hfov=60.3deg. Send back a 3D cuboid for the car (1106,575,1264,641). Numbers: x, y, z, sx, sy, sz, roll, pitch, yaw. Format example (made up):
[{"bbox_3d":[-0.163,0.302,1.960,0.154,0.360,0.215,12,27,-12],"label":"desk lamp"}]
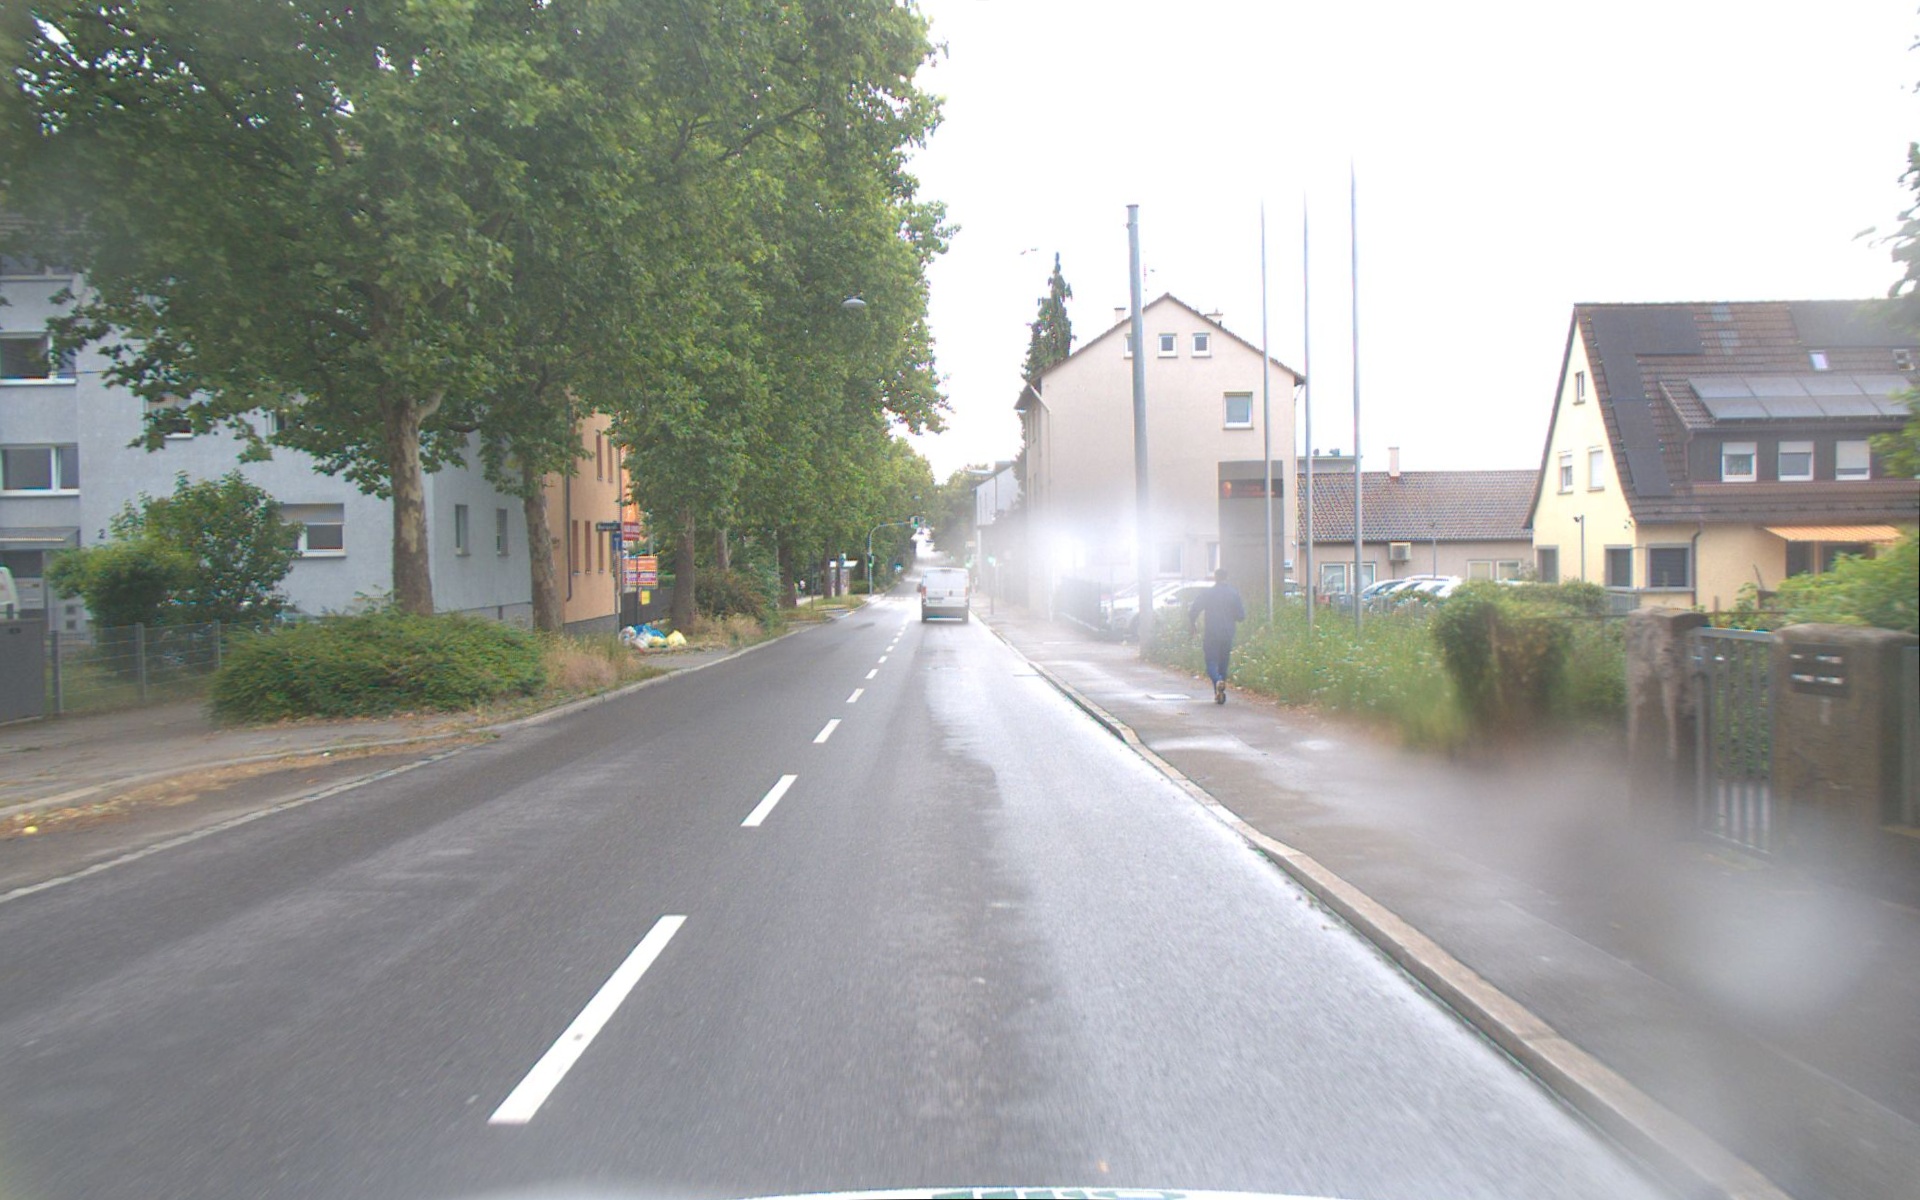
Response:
[{"bbox_3d":[6.377,0.238,47.254,4.215,1.799,1.999,1,-1,-1],"label":"car"}]

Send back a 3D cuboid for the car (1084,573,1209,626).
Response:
[{"bbox_3d":[6.530,-0.024,58.209,4.142,1.767,1.869,1,-1,-1],"label":"car"}]

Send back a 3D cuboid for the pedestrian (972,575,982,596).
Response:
[{"bbox_3d":[1.476,-1.251,140.991,0.728,1.734,0.900,1,0,-6],"label":"pedestrian"}]

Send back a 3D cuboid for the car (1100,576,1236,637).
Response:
[{"bbox_3d":[6.260,0.179,50.077,3.868,1.754,1.791,1,0,-1],"label":"car"}]

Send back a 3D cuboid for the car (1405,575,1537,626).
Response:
[{"bbox_3d":[16.451,0.008,53.326,3.690,1.559,1.757,1,0,-5],"label":"car"}]

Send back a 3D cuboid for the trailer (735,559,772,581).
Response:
[{"bbox_3d":[-15.765,-2.296,126.444,2.649,1.674,1.480,1,0,0],"label":"trailer"}]

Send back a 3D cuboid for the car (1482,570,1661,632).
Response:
[{"bbox_3d":[17.455,0.016,47.316,4.412,1.655,1.869,-1,0,-1],"label":"car"}]

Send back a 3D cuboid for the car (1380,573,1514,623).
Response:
[{"bbox_3d":[16.449,-0.056,55.973,4.002,1.628,1.794,1,-1,-3],"label":"car"}]

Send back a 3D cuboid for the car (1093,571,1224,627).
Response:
[{"bbox_3d":[6.606,-0.029,55.307,4.142,1.767,1.869,1,-1,-1],"label":"car"}]

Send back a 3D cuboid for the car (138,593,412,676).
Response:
[{"bbox_3d":[-13.376,0.664,32.491,4.568,1.502,1.869,1,-1,-1],"label":"car"}]

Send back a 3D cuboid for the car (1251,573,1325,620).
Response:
[{"bbox_3d":[11.293,-0.112,57.177,1.771,1.557,3.626,1,0,-1],"label":"car"}]

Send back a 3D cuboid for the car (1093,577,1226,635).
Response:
[{"bbox_3d":[6.334,0.201,52.745,3.984,1.767,1.869,1,-1,-1],"label":"car"}]

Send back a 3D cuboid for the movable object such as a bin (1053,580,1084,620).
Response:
[{"bbox_3d":[4.351,0.012,66.155,1.088,1.536,0.986,-3,-1,-2],"label":"movable object such as a bin"}]

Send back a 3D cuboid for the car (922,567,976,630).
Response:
[{"bbox_3d":[-0.475,-0.037,70.406,2.236,2.597,3.999,0,-1,-1],"label":"car"}]

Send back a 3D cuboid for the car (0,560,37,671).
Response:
[{"bbox_3d":[-17.949,0.246,27.989,1.845,1.953,4.555,1,0,4],"label":"car"}]

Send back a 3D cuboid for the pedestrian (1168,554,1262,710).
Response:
[{"bbox_3d":[3.251,0.402,21.175,1.022,1.930,0.900,-1,-1,-1],"label":"pedestrian"}]

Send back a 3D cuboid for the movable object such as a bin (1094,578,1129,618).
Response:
[{"bbox_3d":[6.043,-0.068,66.115,1.209,1.536,1.110,-3,-1,-2],"label":"movable object such as a bin"}]

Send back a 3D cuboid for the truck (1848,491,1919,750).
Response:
[{"bbox_3d":[12.814,0.258,17.545,5.726,2.684,2.043,1,-1,-2],"label":"truck"}]
